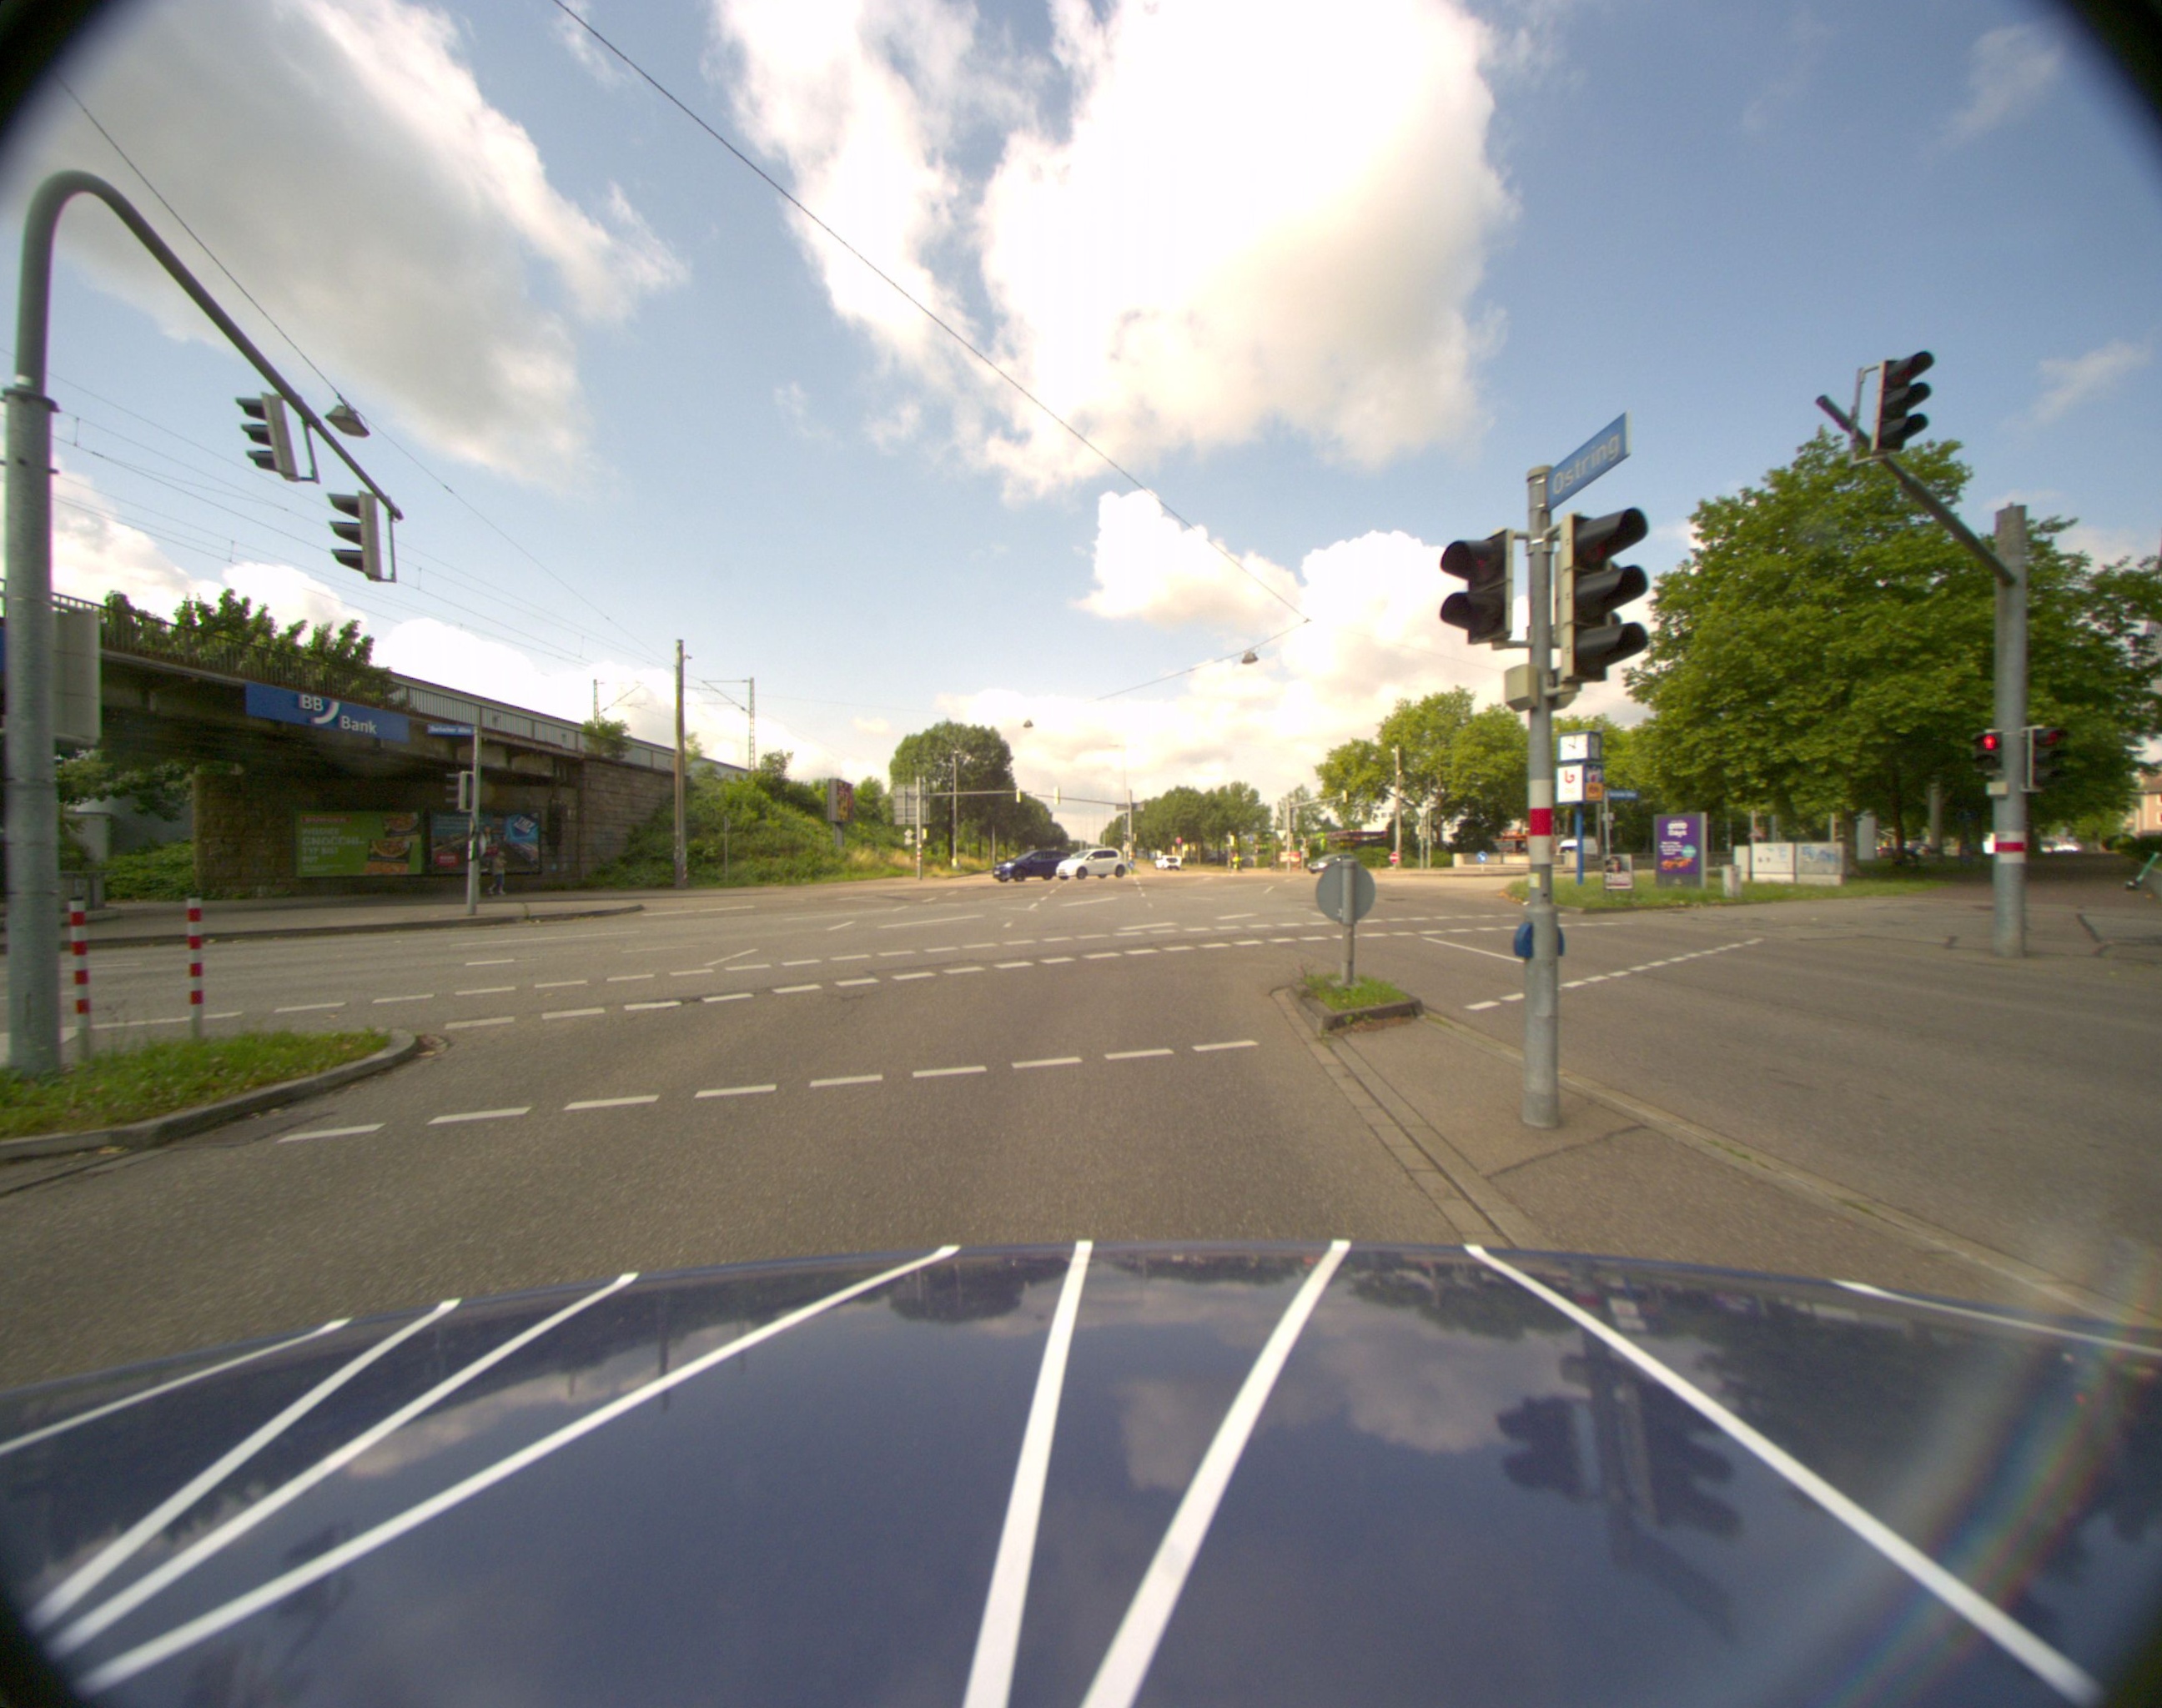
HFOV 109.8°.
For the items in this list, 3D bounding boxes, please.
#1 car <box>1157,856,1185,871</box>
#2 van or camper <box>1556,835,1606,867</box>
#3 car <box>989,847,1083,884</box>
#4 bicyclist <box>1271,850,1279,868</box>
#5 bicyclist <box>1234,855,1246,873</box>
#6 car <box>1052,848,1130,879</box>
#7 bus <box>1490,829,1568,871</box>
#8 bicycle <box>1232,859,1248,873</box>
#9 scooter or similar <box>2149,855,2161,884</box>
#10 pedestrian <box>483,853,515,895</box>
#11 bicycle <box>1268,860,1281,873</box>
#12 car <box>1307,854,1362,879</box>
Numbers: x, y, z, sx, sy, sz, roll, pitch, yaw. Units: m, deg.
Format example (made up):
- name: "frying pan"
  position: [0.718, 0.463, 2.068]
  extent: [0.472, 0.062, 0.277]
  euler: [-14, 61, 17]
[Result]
- name: "car"
  position: [9.308, 1.005, 78.893]
  extent: [1.751, 1.470, 3.794]
  euler: [1, -1, -13]
- name: "van or camper"
  position: [49.092, -0.360, 74.560]
  extent: [5.975, 2.771, 2.158]
  euler: [-4, 5, -38]
- name: "car"
  position: [-2.322, 0.551, 39.946]
  extent: [4.588, 1.567, 1.887]
  euler: [-3, 5, -36]
- name: "bicyclist"
  position: [18.648, 0.505, 72.992]
  extent: [0.677, 1.676, 0.755]
  euler: [-1, 1, 5]
- name: "bicyclist"
  position: [15.245, 0.933, 72.900]
  extent: [0.677, 1.670, 0.836]
  euler: [-6, 3, -9]
- name: "car"
  position: [0.536, 0.497, 38.183]
  extent: [3.609, 1.477, 1.733]
  euler: [0, -1, -38]
- name: "bus"
  position: [43.912, -0.485, 74.319]
  extent: [10.411, 3.448, 2.738]
  euler: [-4, 5, -36]
- name: "bicycle"
  position: [15.275, 1.172, 72.935]
  extent: [0.677, 1.190, 2.230]
  euler: [-6, 2, -8]
- name: "scooter or similar"
  position: [30.470, 0.432, 21.474]
  extent: [1.232, 0.709, 0.240]
  euler: [-4, 5, -32]
- name: "pedestrian"
  position: [-23.583, 0.810, 30.807]
  extent: [0.692, 1.642, 0.608]
  euler: [-2, 4, -6]
- name: "bicycle"
  position: [18.619, 1.175, 73.164]
  extent: [0.791, 1.189, 2.233]
  euler: [-1, 0, 5]
- name: "car"
  position: [18.493, 0.884, 55.322]
  extent: [4.006, 1.456, 1.768]
  euler: [-5, 2, -36]
